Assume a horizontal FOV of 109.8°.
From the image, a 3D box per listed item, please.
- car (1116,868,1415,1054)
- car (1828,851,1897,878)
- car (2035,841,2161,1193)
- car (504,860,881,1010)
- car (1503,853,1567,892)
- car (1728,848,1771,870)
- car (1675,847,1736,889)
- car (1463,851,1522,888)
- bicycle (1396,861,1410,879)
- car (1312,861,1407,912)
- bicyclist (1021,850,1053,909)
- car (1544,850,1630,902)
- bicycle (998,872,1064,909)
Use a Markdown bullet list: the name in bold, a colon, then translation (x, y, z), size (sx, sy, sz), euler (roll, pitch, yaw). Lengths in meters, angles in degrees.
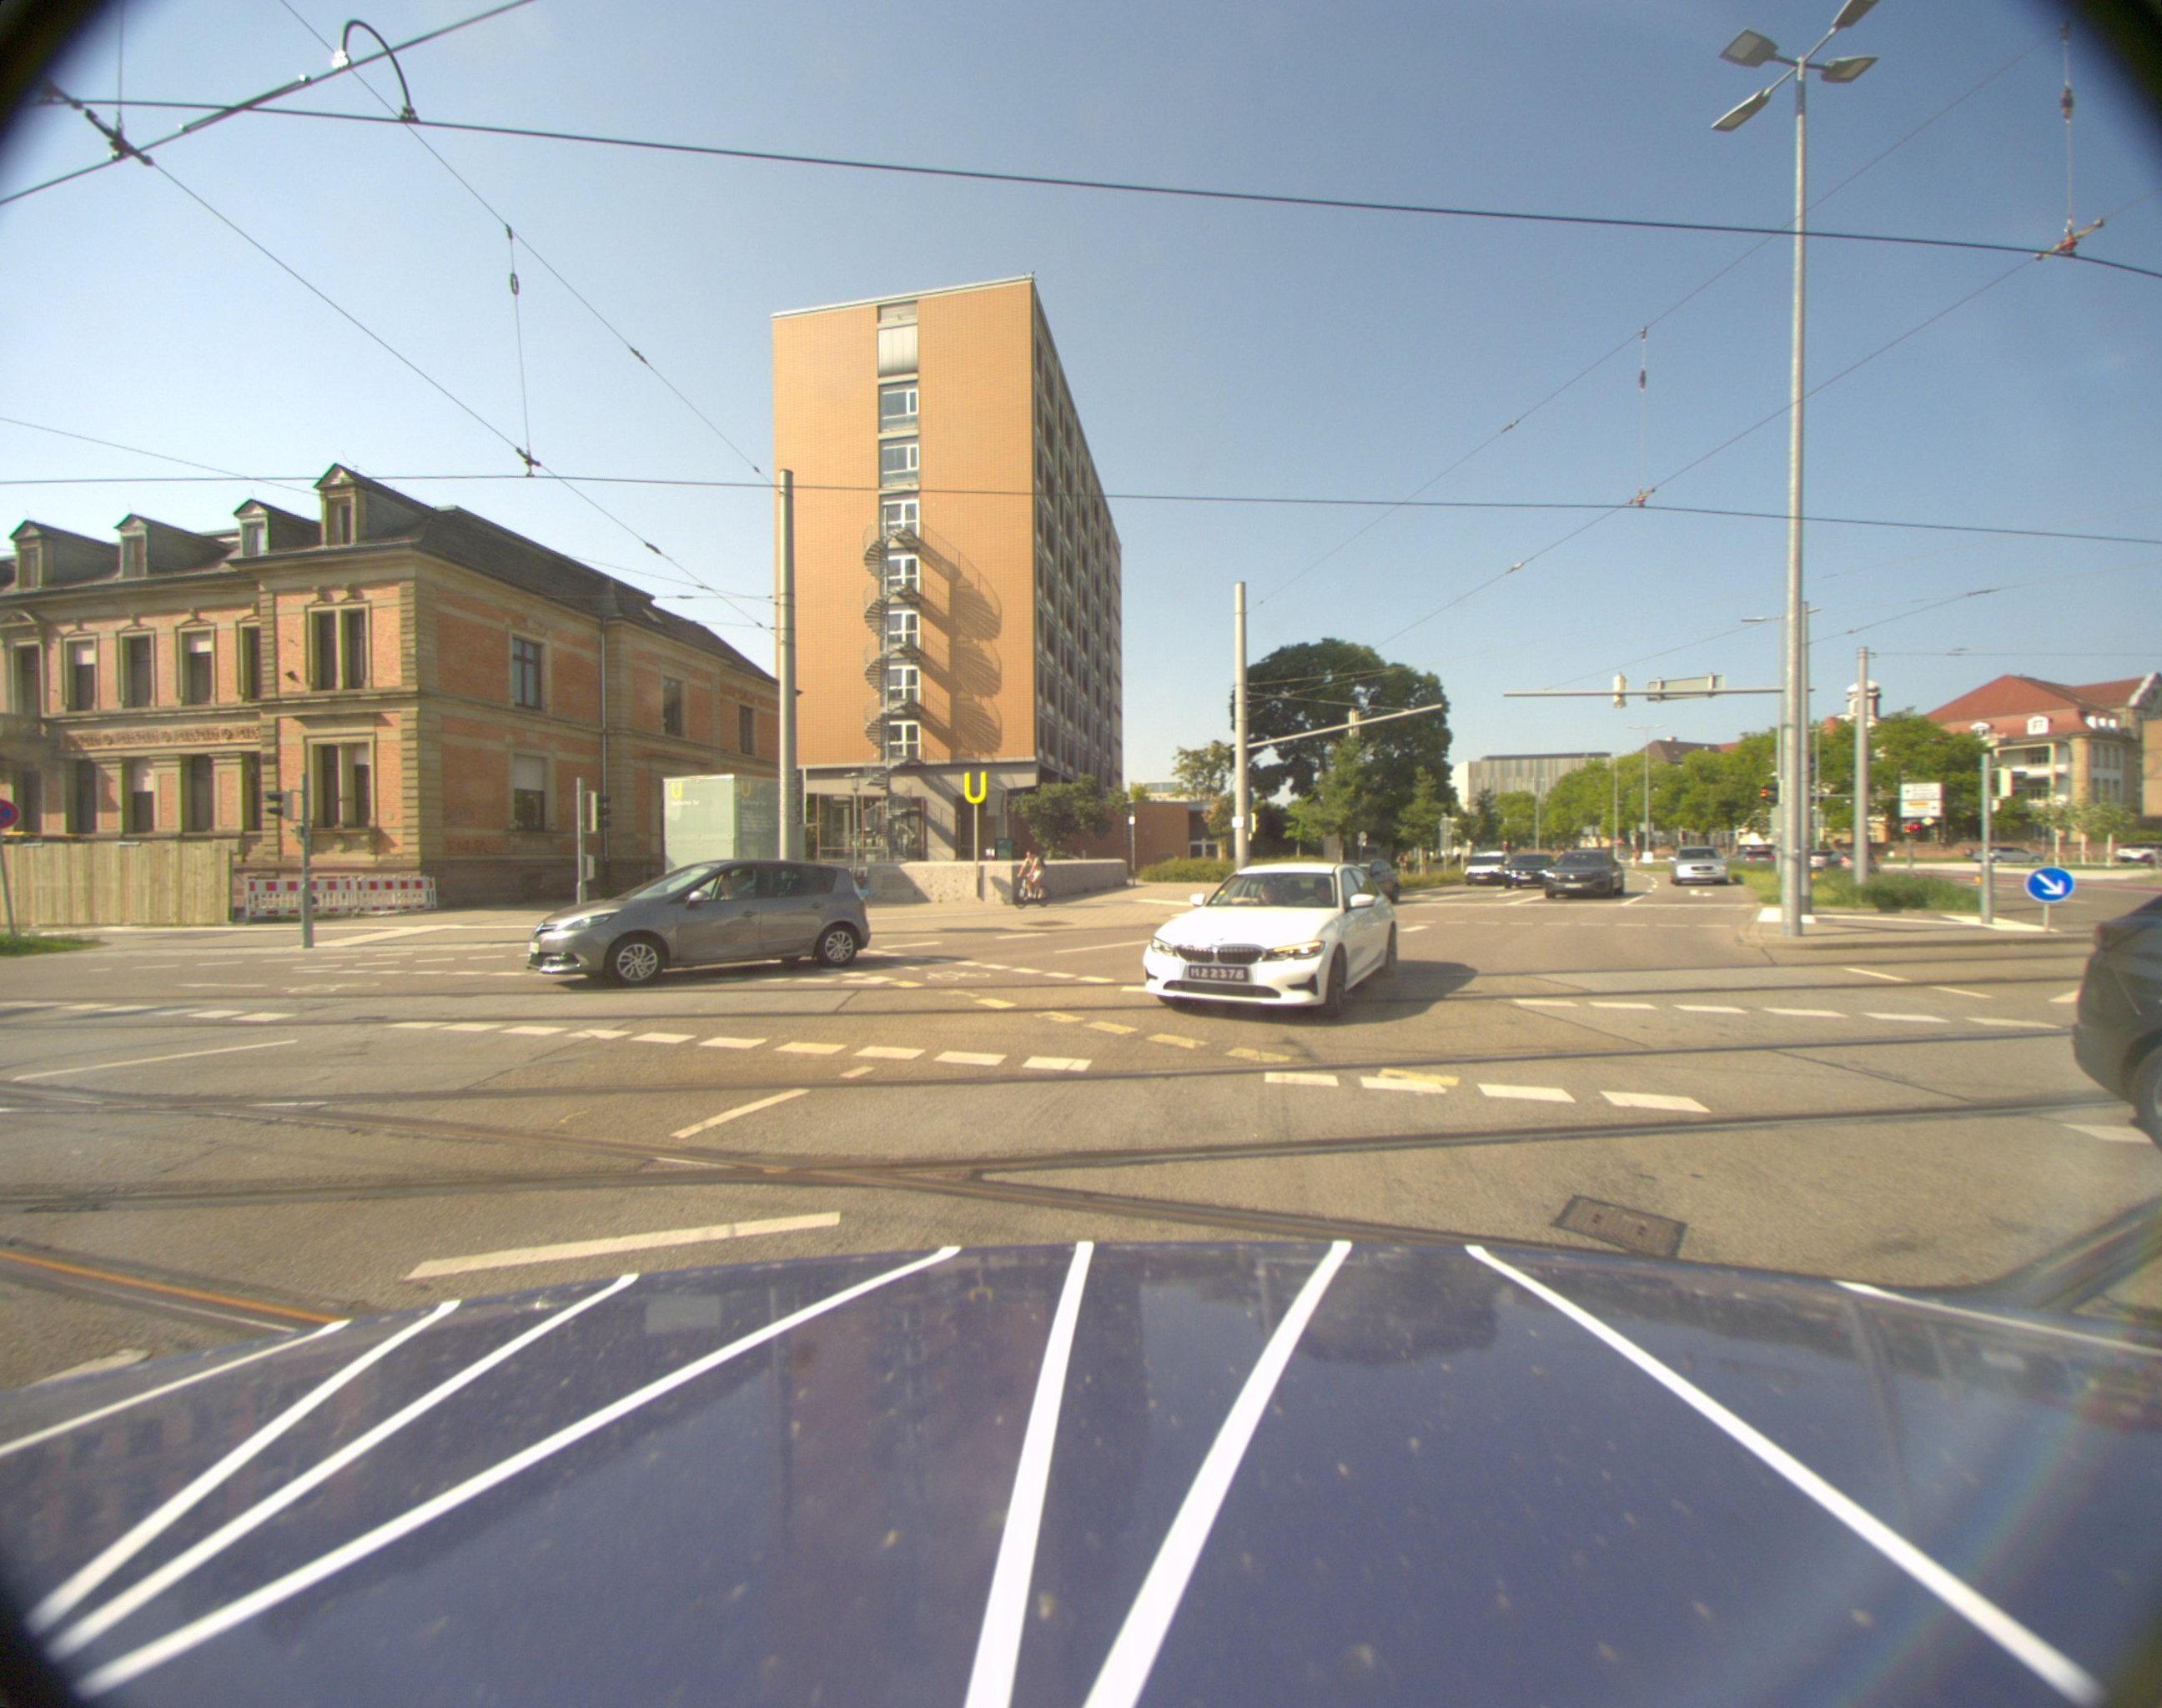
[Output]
- **car**: translation (2.393, 0.907, 8.632), size (1.810, 1.419, 4.784), euler (0, 0, 33)
- **car**: translation (45.974, 0.589, 44.812), size (1.778, 1.499, 4.008), euler (0, 0, 29)
- **car**: translation (5.851, 0.736, 1.729), size (1.998, 1.611, 4.358), euler (-1, 0, 3)
- **car**: translation (-5.194, 0.933, 10.597), size (1.810, 1.614, 4.299), euler (-2, -1, 44)
- **car**: translation (21.539, 0.846, 35.944), size (1.764, 1.696, 4.299), euler (-3, -2, 42)
- **car**: translation (45.471, 0.339, 51.722), size (1.489, 1.442, 3.531), euler (0, 0, 29)
- **car**: translation (27.944, 0.605, 34.008), size (1.947, 1.696, 4.299), euler (-3, -2, 40)
- **car**: translation (22.314, 0.805, 41.147), size (1.790, 1.875, 4.299), euler (-3, -2, 42)
- **bicycle**: translation (22.125, 1.103, 52.176), size (0.400, 1.187, 1.776), euler (0, 0, 40)
- **car**: translation (9.646, 1.061, 26.167), size (1.739, 1.572, 3.984), euler (-2, -1, 41)
- **bicyclist**: translation (-1.423, 0.794, 24.456), size (0.712, 1.851, 0.780), euler (-1, 0, -38)
- **car**: translation (17.998, 0.754, 26.946), size (1.921, 1.696, 4.299), euler (-3, -2, 42)
- **bicycle**: translation (-1.591, 1.157, 24.371), size (2.191, 1.089, 0.528), euler (-1, 0, -38)
